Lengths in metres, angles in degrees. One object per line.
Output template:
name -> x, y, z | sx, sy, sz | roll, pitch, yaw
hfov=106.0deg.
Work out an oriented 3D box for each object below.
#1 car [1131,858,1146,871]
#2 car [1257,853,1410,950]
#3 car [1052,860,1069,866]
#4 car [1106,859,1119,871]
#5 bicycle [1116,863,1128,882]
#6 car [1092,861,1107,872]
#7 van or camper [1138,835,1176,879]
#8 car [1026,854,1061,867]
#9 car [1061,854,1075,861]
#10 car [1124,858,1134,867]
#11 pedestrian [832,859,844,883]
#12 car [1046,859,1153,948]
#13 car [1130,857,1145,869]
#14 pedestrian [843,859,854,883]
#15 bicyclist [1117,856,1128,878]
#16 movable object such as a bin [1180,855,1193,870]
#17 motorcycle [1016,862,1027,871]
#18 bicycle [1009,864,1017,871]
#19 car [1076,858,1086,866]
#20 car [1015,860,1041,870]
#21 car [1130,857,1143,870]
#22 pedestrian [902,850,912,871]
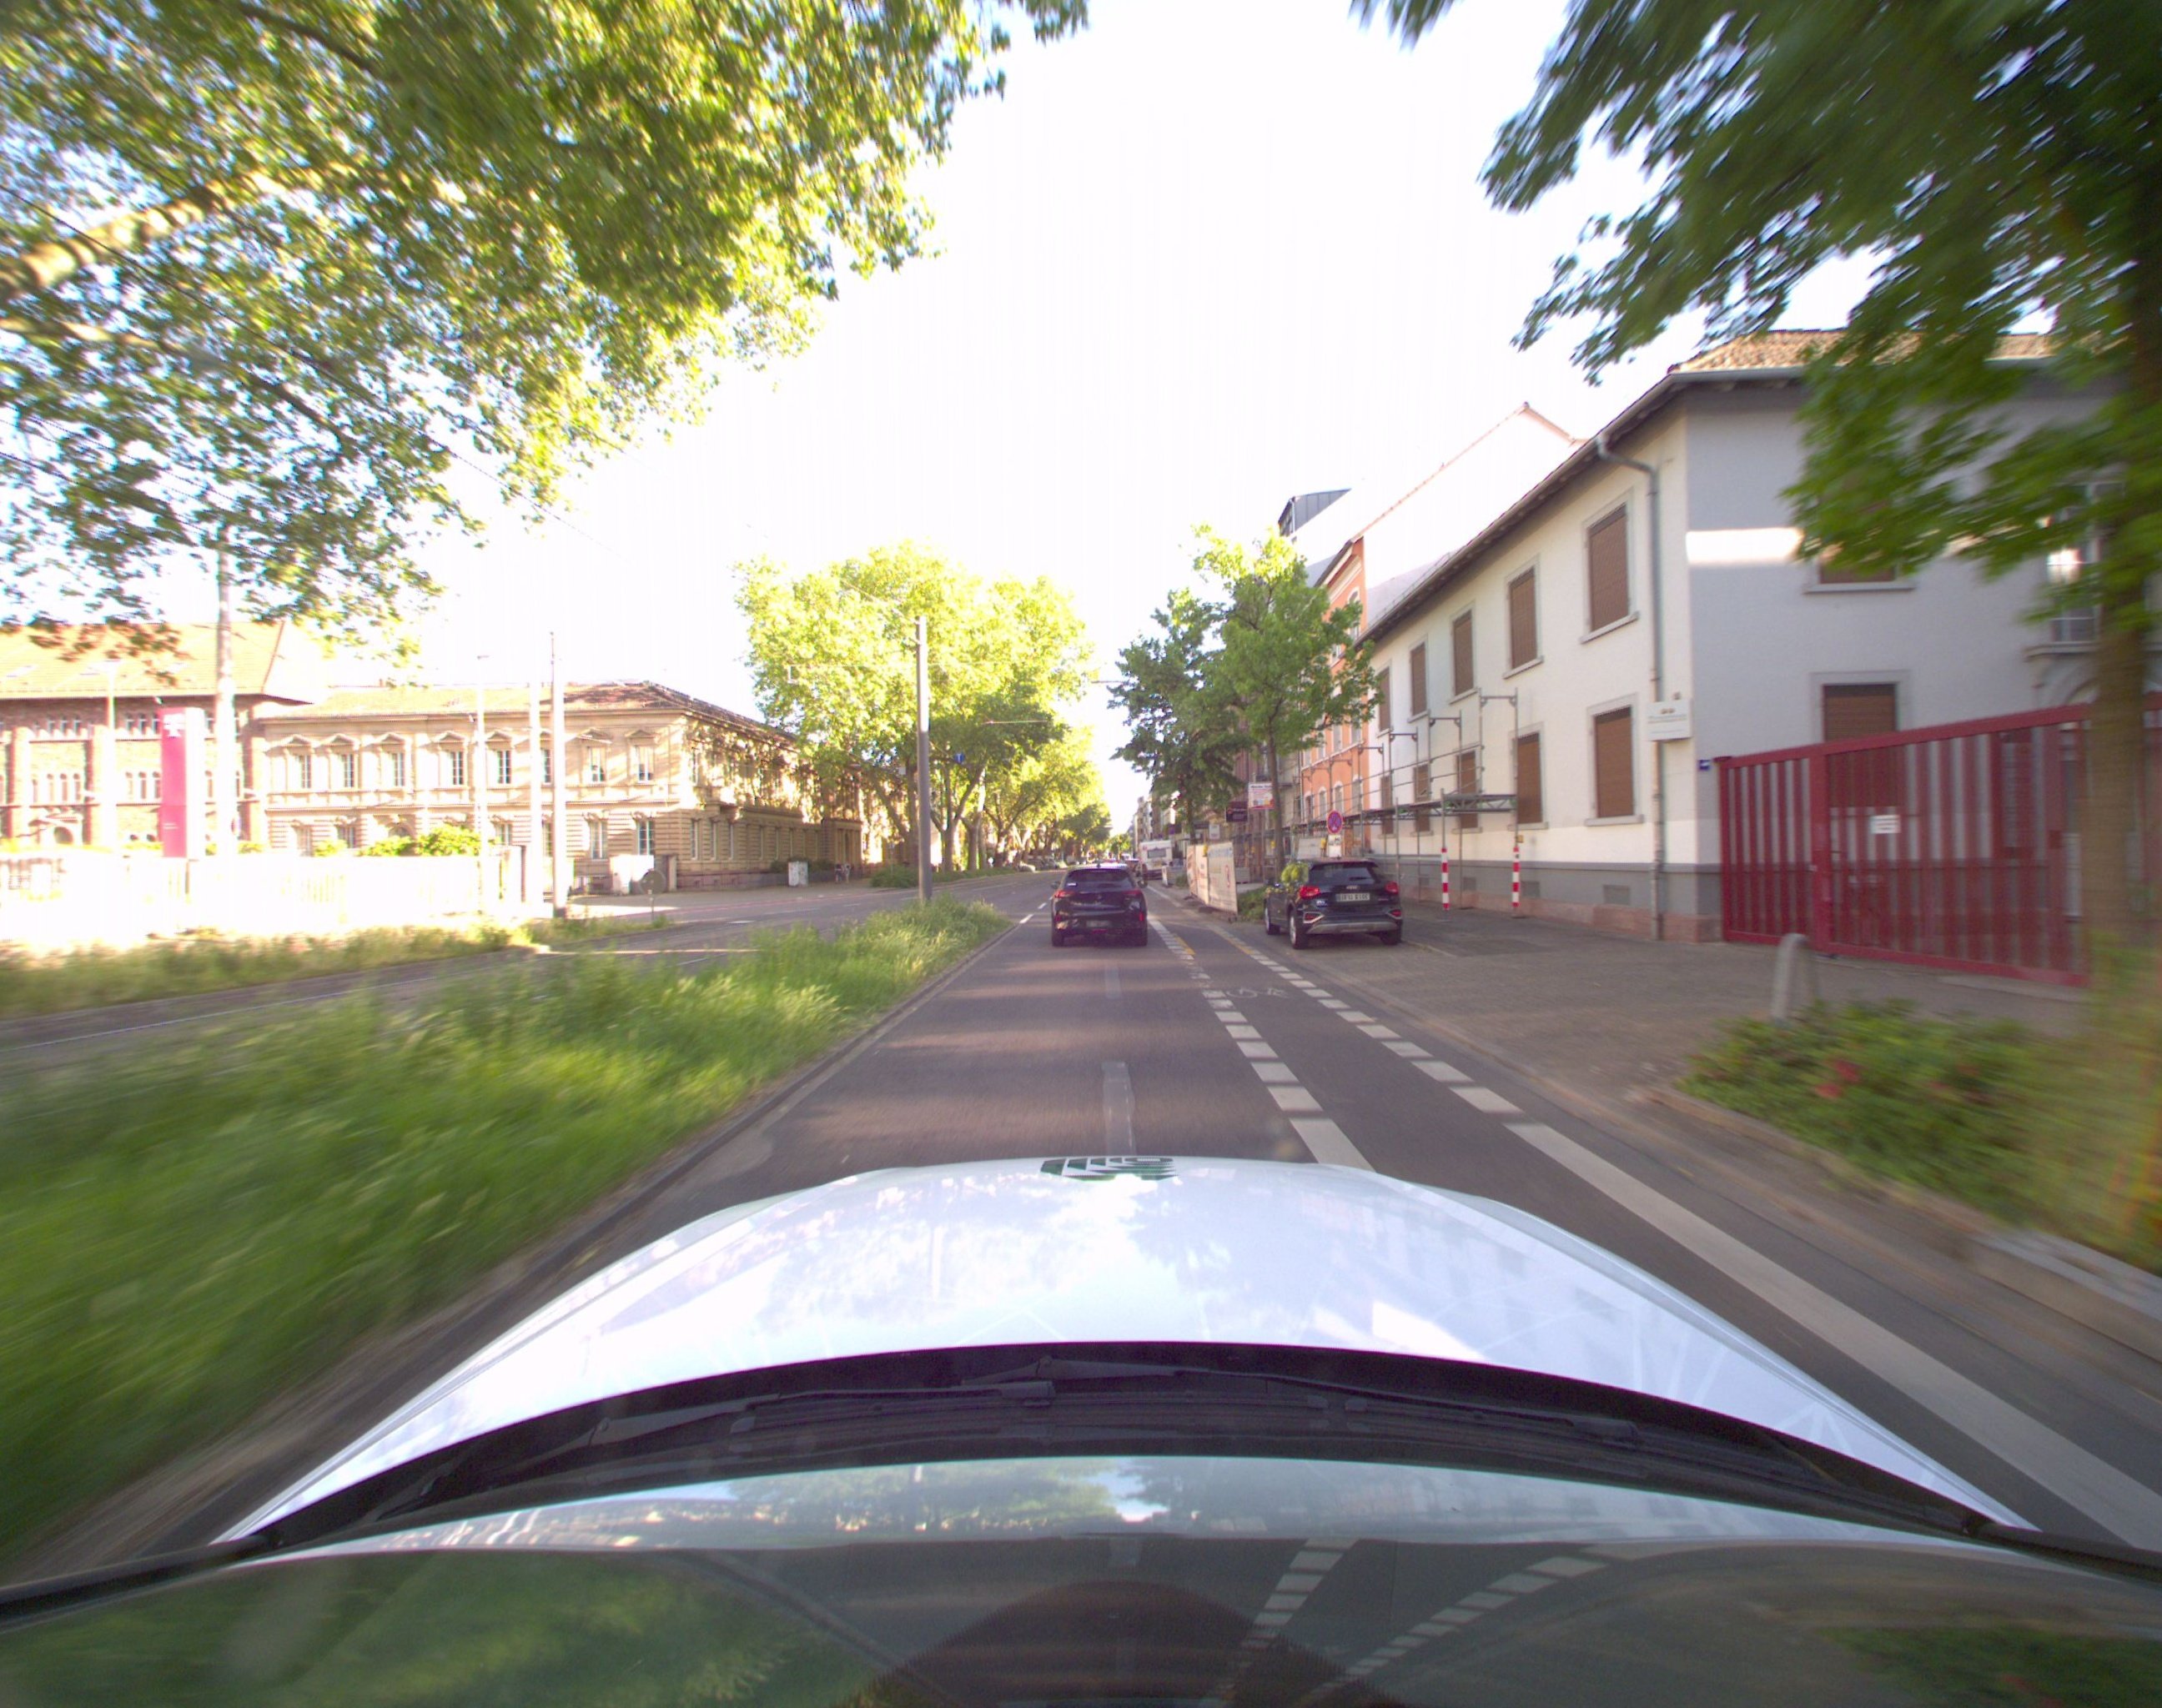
car -> 6.721, 1.235, 95.328 | 1.686, 1.392, 4.498 | -2, -1, 3
car -> 4.466, 0.763, 15.043 | 1.755, 1.483, 4.114 | -2, 0, 4
car -> -4.765, 2.091, 188.732 | 3.908, 1.498, 1.676 | 1, -1, -1
car -> 4.751, 1.616, 120.718 | 1.802, 1.742, 3.936 | -1, -1, 3
bicycle -> 3.301, 1.470, 65.132 | 0.857, 1.407, 2.524 | 0, -1, 1
car -> 2.443, 1.647, 107.876 | 1.802, 1.338, 3.936 | -1, -1, 3
van or camper -> 5.696, 0.276, 62.346 | 2.467, 2.972, 7.891 | -4, -1, 3
car -> -7.203, 1.254, 157.813 | 6.602, 2.409, 2.459 | 1, -1, 2
car -> -3.484, 0.958, 219.127 | 3.908, 1.790, 1.676 | 1, -1, -1
car -> 8.700, 1.553, 147.481 | 1.696, 1.456, 3.703 | -4, -1, 5
pedestrian -> -17.485, 1.234, 58.664 | 0.670, 1.697, 0.661 | 0, -1, -5
car -> 0.371, 0.833, 15.399 | 1.787, 1.441, 3.533 | 0, 0, 2
car -> 8.202, 1.291, 118.235 | 1.873, 1.586, 3.934 | -4, -1, 2
pedestrian -> -16.781, 1.229, 58.753 | 0.633, 1.697, 0.655 | 0, -1, -5
bicyclist -> 3.308, 1.005, 65.138 | 0.845, 1.740, 1.162 | 0, -1, 1
movable object such as a bin -> 11.205, 0.921, 86.520 | 1.288, 1.520, 1.287 | 0, -1, 2
motorcycle -> -7.947, 1.631, 108.792 | 0.879, 1.147, 2.397 | 0, 0, 10
bicycle -> -9.049, 1.770, 108.779 | 0.537, 0.940, 2.039 | 0, 0, 10
car -> 0.079, 1.677, 167.511 | 1.859, 1.629, 4.562 | -1, 0, 2
car -> -8.312, 1.727, 128.652 | 3.904, 1.442, 1.750 | 1, -1, 2
car -> 7.344, 1.258, 107.429 | 1.627, 1.546, 3.579 | -2, -1, 3
pedestrian -> -16.070, 0.609, 75.057 | 0.716, 1.849, 0.838 | 0, -1, 3
